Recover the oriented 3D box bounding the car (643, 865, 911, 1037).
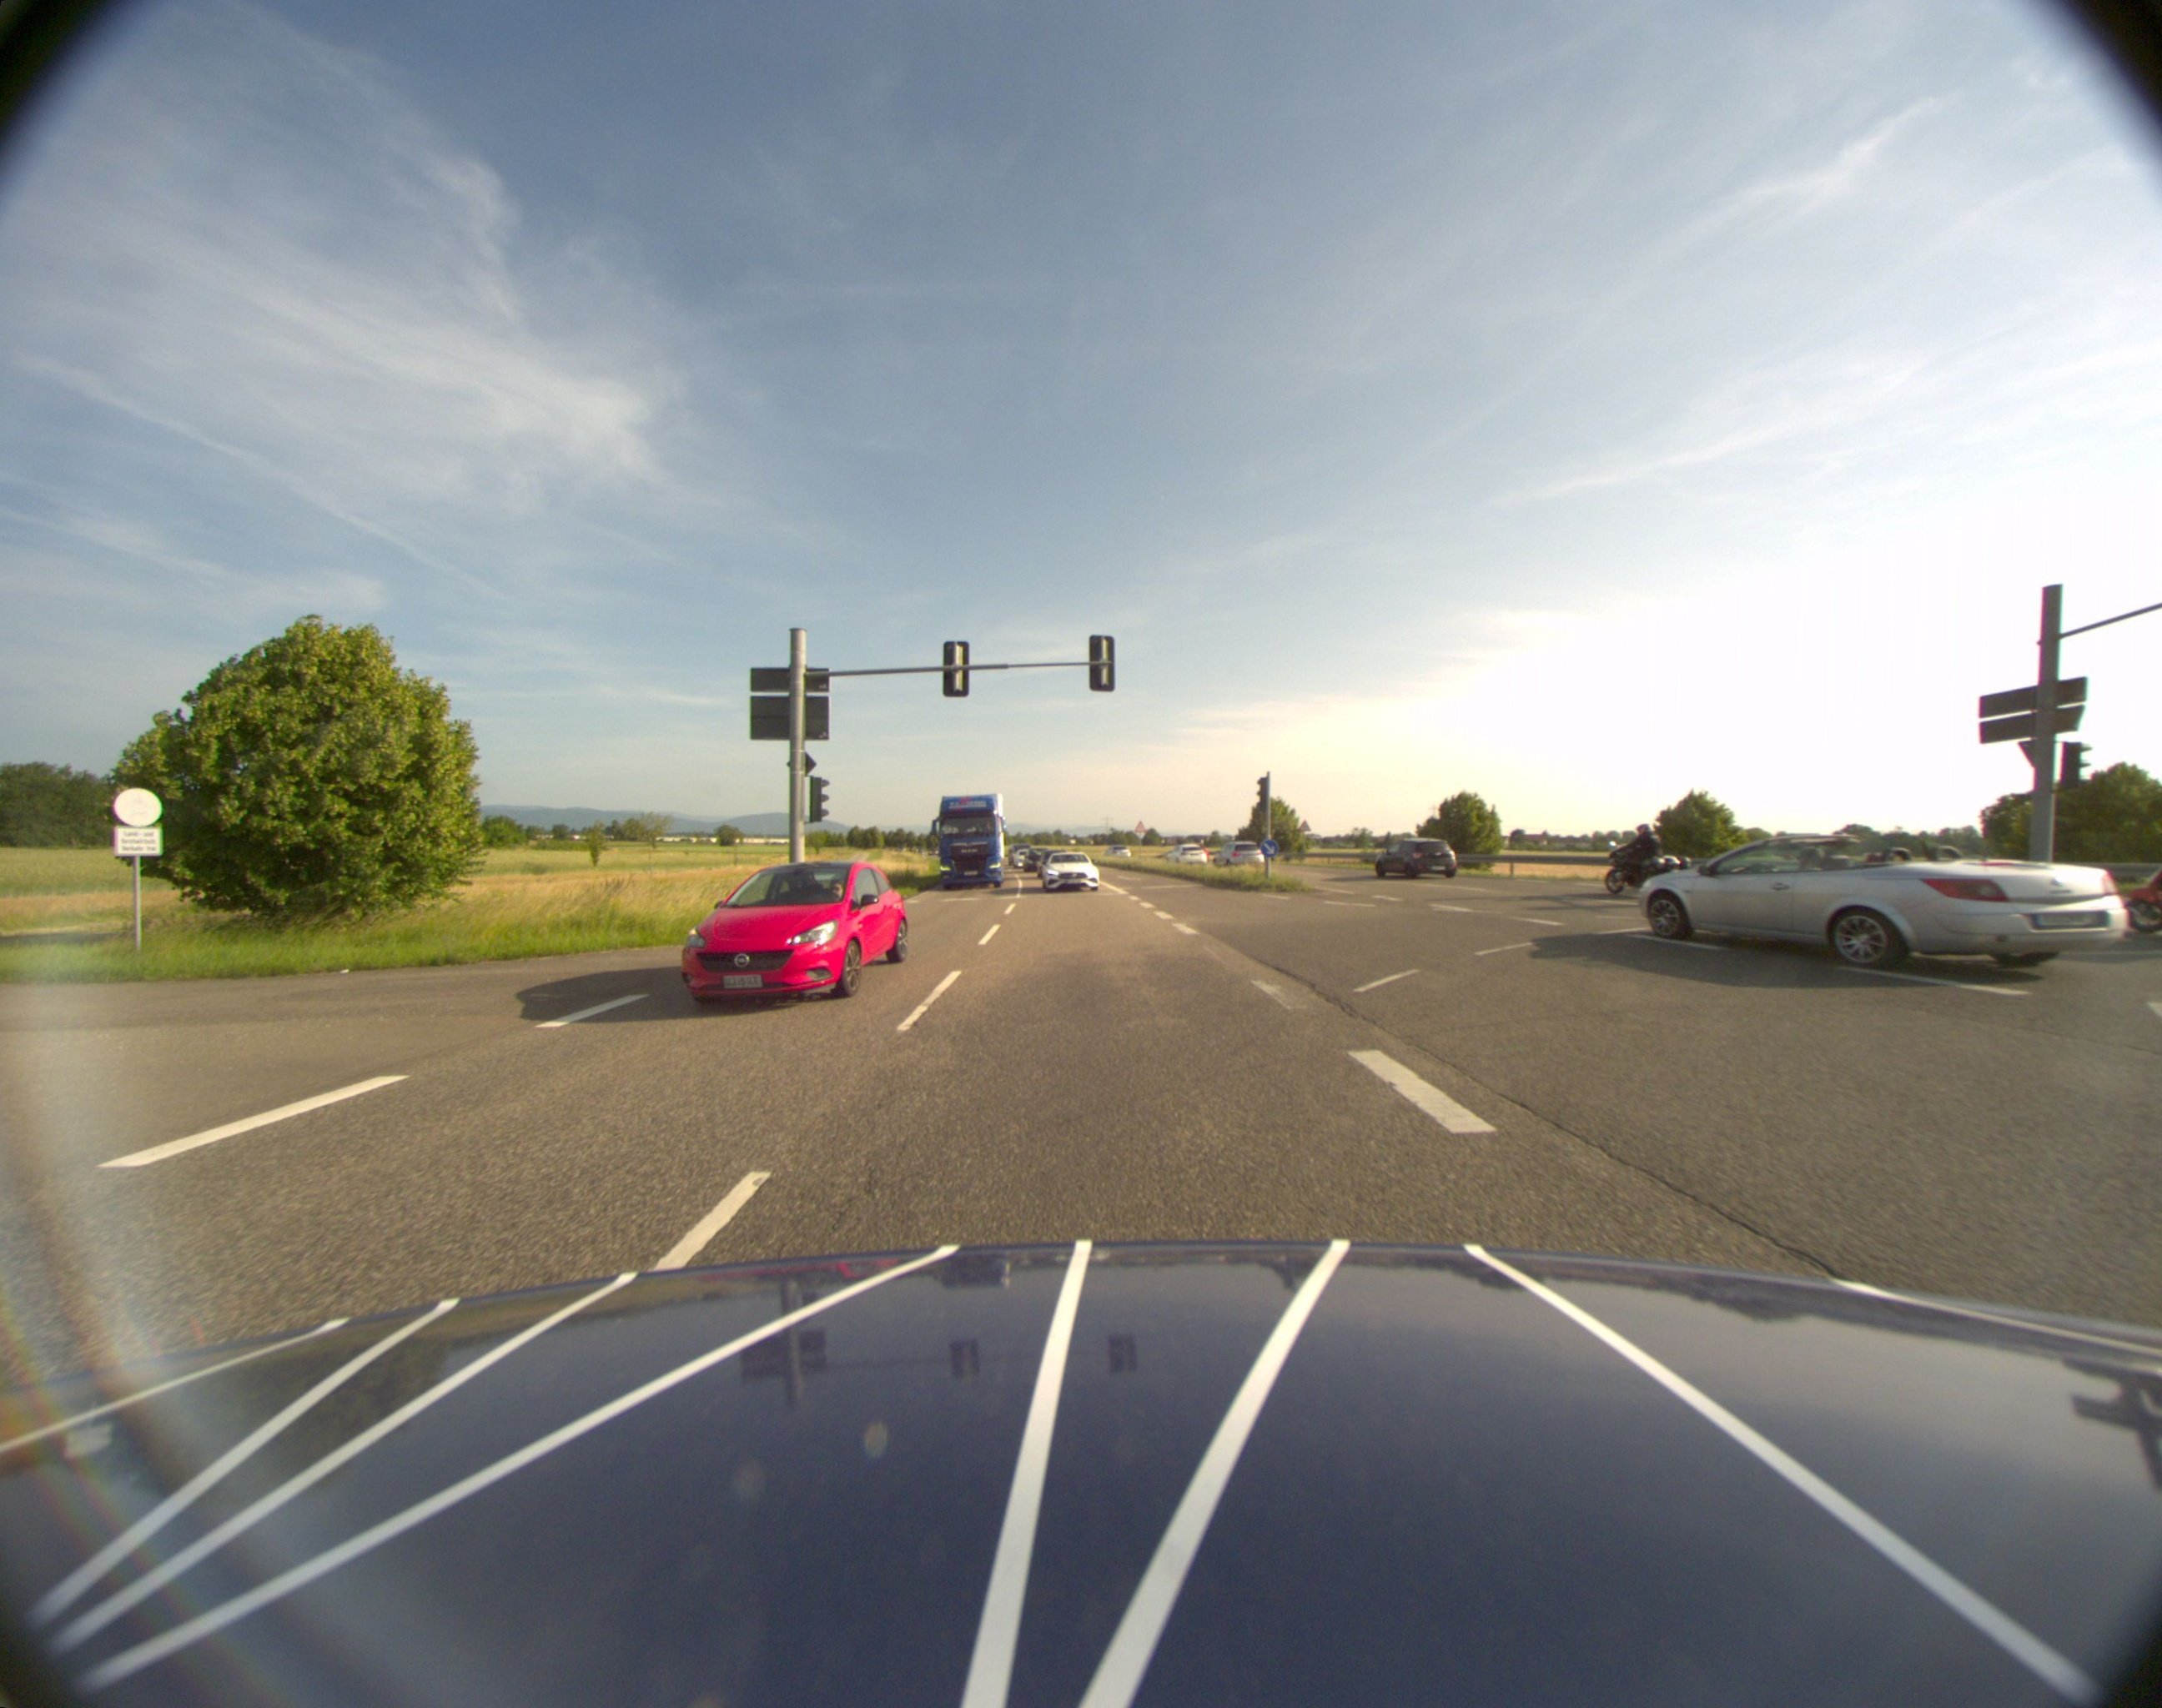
[{"bbox_3d":[-3.306,0.943,9.156,1.666,1.456,3.953,-2,1,-1],"label":"car"}]

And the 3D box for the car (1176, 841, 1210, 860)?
[{"bbox_3d":[8.877,-0.296,60.551,1.665,1.458,4.019,-1,1,-7],"label":"car"}]

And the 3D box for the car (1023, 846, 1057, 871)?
[{"bbox_3d":[-2.729,0.248,49.901,1.832,1.521,3.996,-1,1,-8],"label":"car"}]

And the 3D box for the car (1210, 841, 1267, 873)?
[{"bbox_3d":[7.939,0.122,38.646,1.691,1.514,4.090,-2,1,-5],"label":"car"}]

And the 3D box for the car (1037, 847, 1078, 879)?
[{"bbox_3d":[-1.264,0.406,39.189,1.752,1.521,3.997,-1,1,-6],"label":"car"}]

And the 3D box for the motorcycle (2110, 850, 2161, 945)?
[{"bbox_3d":[13.574,0.542,8.764,0.709,1.152,2.023,-1,1,3],"label":"motorcycle"}]

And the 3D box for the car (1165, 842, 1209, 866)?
[{"bbox_3d":[6.821,-0.032,49.161,1.735,1.405,4.391,-2,1,-7],"label":"car"}]

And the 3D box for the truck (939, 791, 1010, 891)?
[{"bbox_3d":[-4.523,-0.569,33.109,2.652,3.897,5.946,-2,1,-6],"label":"truck"}]

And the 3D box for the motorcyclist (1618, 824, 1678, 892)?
[{"bbox_3d":[13.020,0.085,17.476,0.699,1.494,0.896,-1,1,0],"label":"motorcyclist"}]

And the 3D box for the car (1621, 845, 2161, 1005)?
[{"bbox_3d":[8.761,0.589,8.860,1.699,1.345,4.451,-1,1,-1],"label":"car"}]

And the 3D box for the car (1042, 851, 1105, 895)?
[{"bbox_3d":[-0.367,0.611,27.554,1.876,1.390,4.201,-1,1,-6],"label":"car"}]

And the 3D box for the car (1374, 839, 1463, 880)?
[{"bbox_3d":[12.628,0.185,28.666,1.690,1.404,3.520,-2,1,-1],"label":"car"}]

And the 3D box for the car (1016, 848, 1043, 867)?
[{"bbox_3d":[-4.000,0.230,58.722,1.696,1.406,3.996,-1,1,-10],"label":"car"}]

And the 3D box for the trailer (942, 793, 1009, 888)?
[{"bbox_3d":[-5.172,-0.689,39.104,2.652,3.956,13.920,-2,1,-6],"label":"trailer"}]

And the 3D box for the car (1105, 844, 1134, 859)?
[{"bbox_3d":[3.670,-0.270,72.838,1.933,1.427,4.697,-1,1,-7],"label":"car"}]

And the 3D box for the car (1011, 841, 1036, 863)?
[{"bbox_3d":[-5.145,-0.184,67.490,1.832,1.831,3.996,-1,1,-9],"label":"car"}]

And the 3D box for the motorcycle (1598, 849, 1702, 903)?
[{"bbox_3d":[13.043,0.468,17.519,0.703,1.131,2.277,-1,1,0],"label":"motorcycle"}]
